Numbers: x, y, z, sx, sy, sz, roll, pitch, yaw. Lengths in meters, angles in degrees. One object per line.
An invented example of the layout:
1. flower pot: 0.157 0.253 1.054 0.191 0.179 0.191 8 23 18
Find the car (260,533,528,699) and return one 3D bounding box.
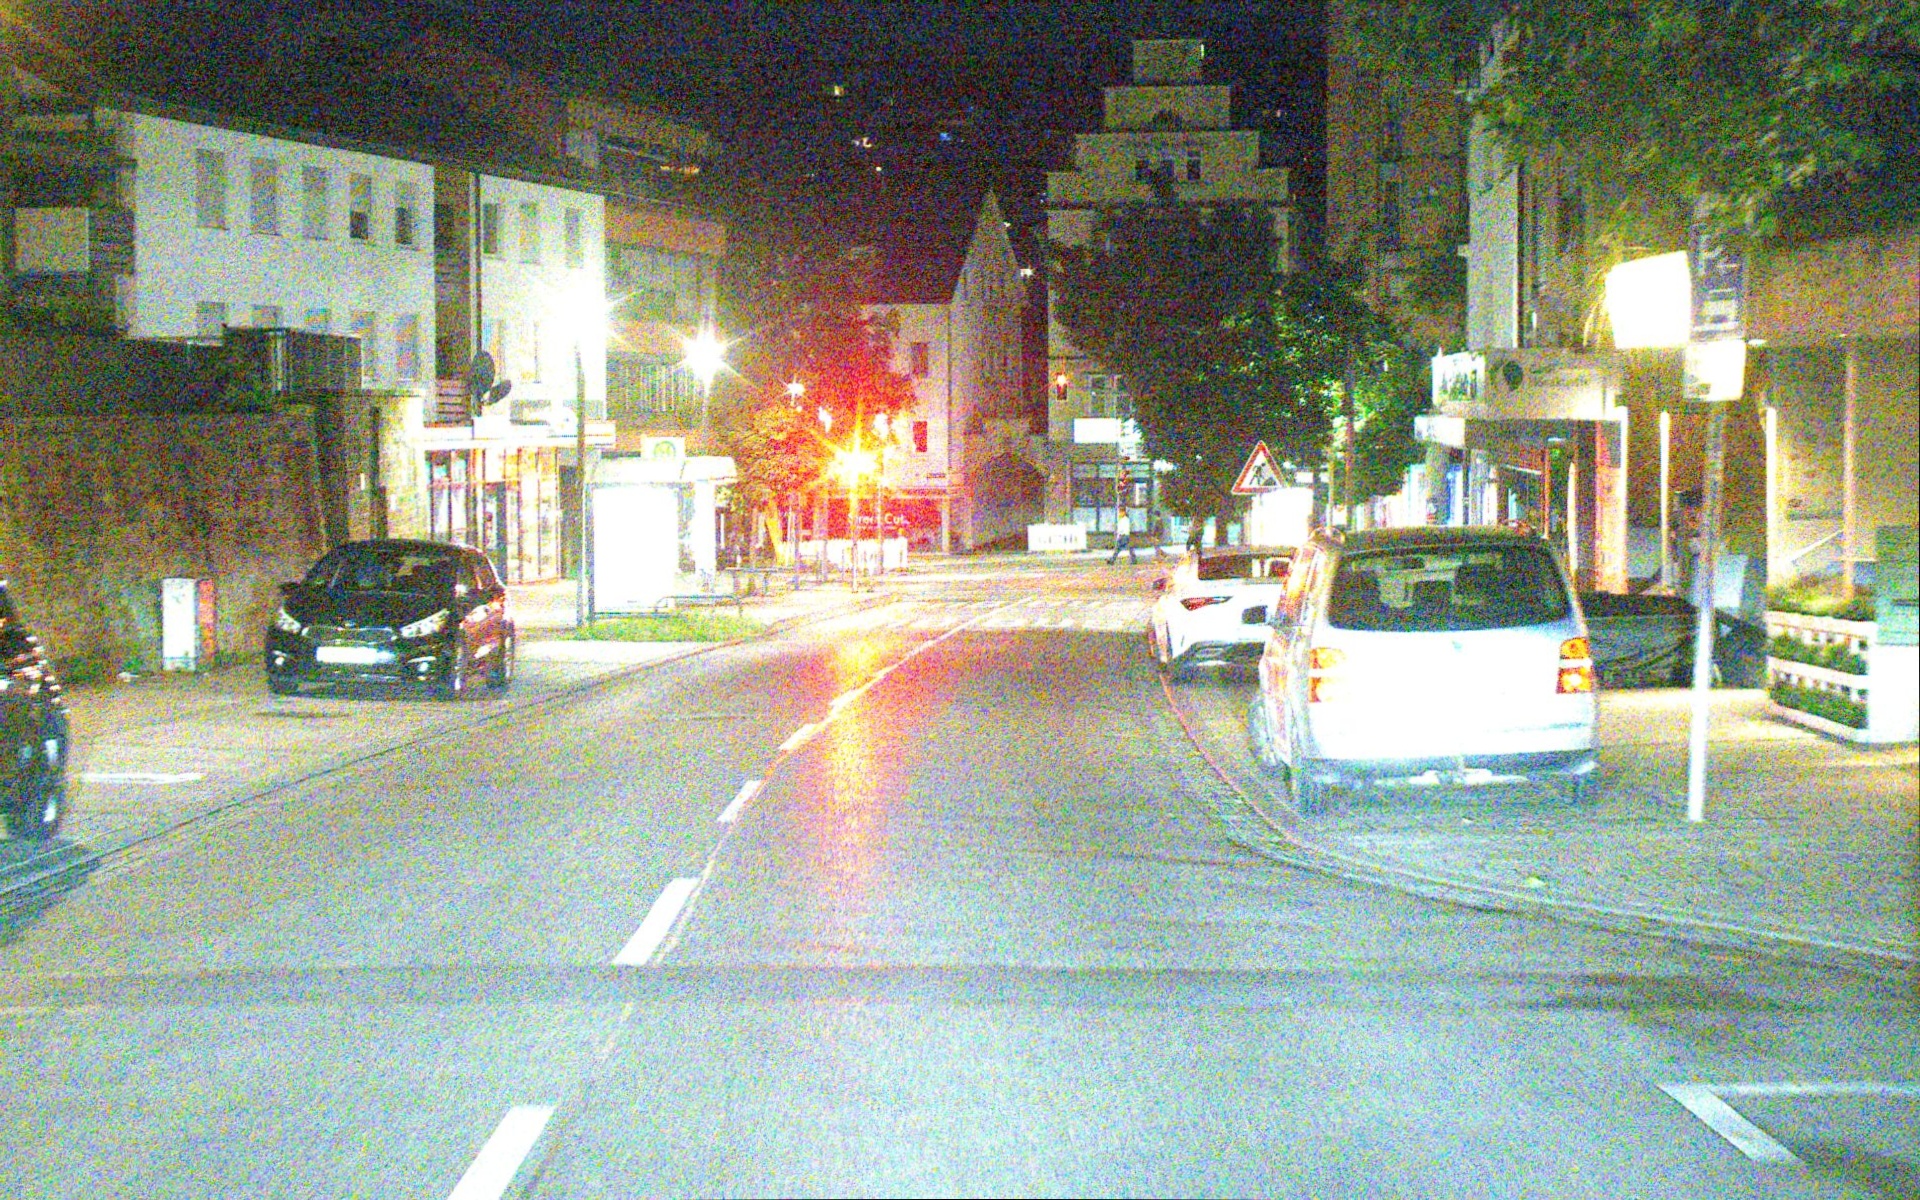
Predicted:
1. car: -5.369 0.102 33.096 1.692 1.432 4.128 2 1 2

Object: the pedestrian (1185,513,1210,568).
1. pedestrian: 7.848 -1.973 113.638 0.716 1.789 0.737 1 0 12

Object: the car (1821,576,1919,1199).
1. car: 2.959 0.729 5.792 1.780 1.432 4.290 2 1 -2

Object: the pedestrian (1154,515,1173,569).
1. pedestrian: 6.764 -1.931 114.319 0.567 1.789 0.718 1 0 0

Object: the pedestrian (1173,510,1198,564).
1. pedestrian: 7.483 -2.097 114.193 0.567 1.789 0.718 1 0 -20

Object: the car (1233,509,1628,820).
1. car: 2.727 0.308 20.831 1.787 1.636 4.380 -2 1 1

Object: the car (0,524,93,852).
1. car: -5.287 0.395 15.881 1.691 1.518 3.691 1 0 -1

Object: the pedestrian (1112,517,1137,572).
1. pedestrian: 5.395 -1.813 112.968 0.716 1.789 0.569 1 0 12

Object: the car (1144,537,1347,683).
1. car: 3.005 0.062 36.992 1.857 1.437 4.594 -1 1 1
